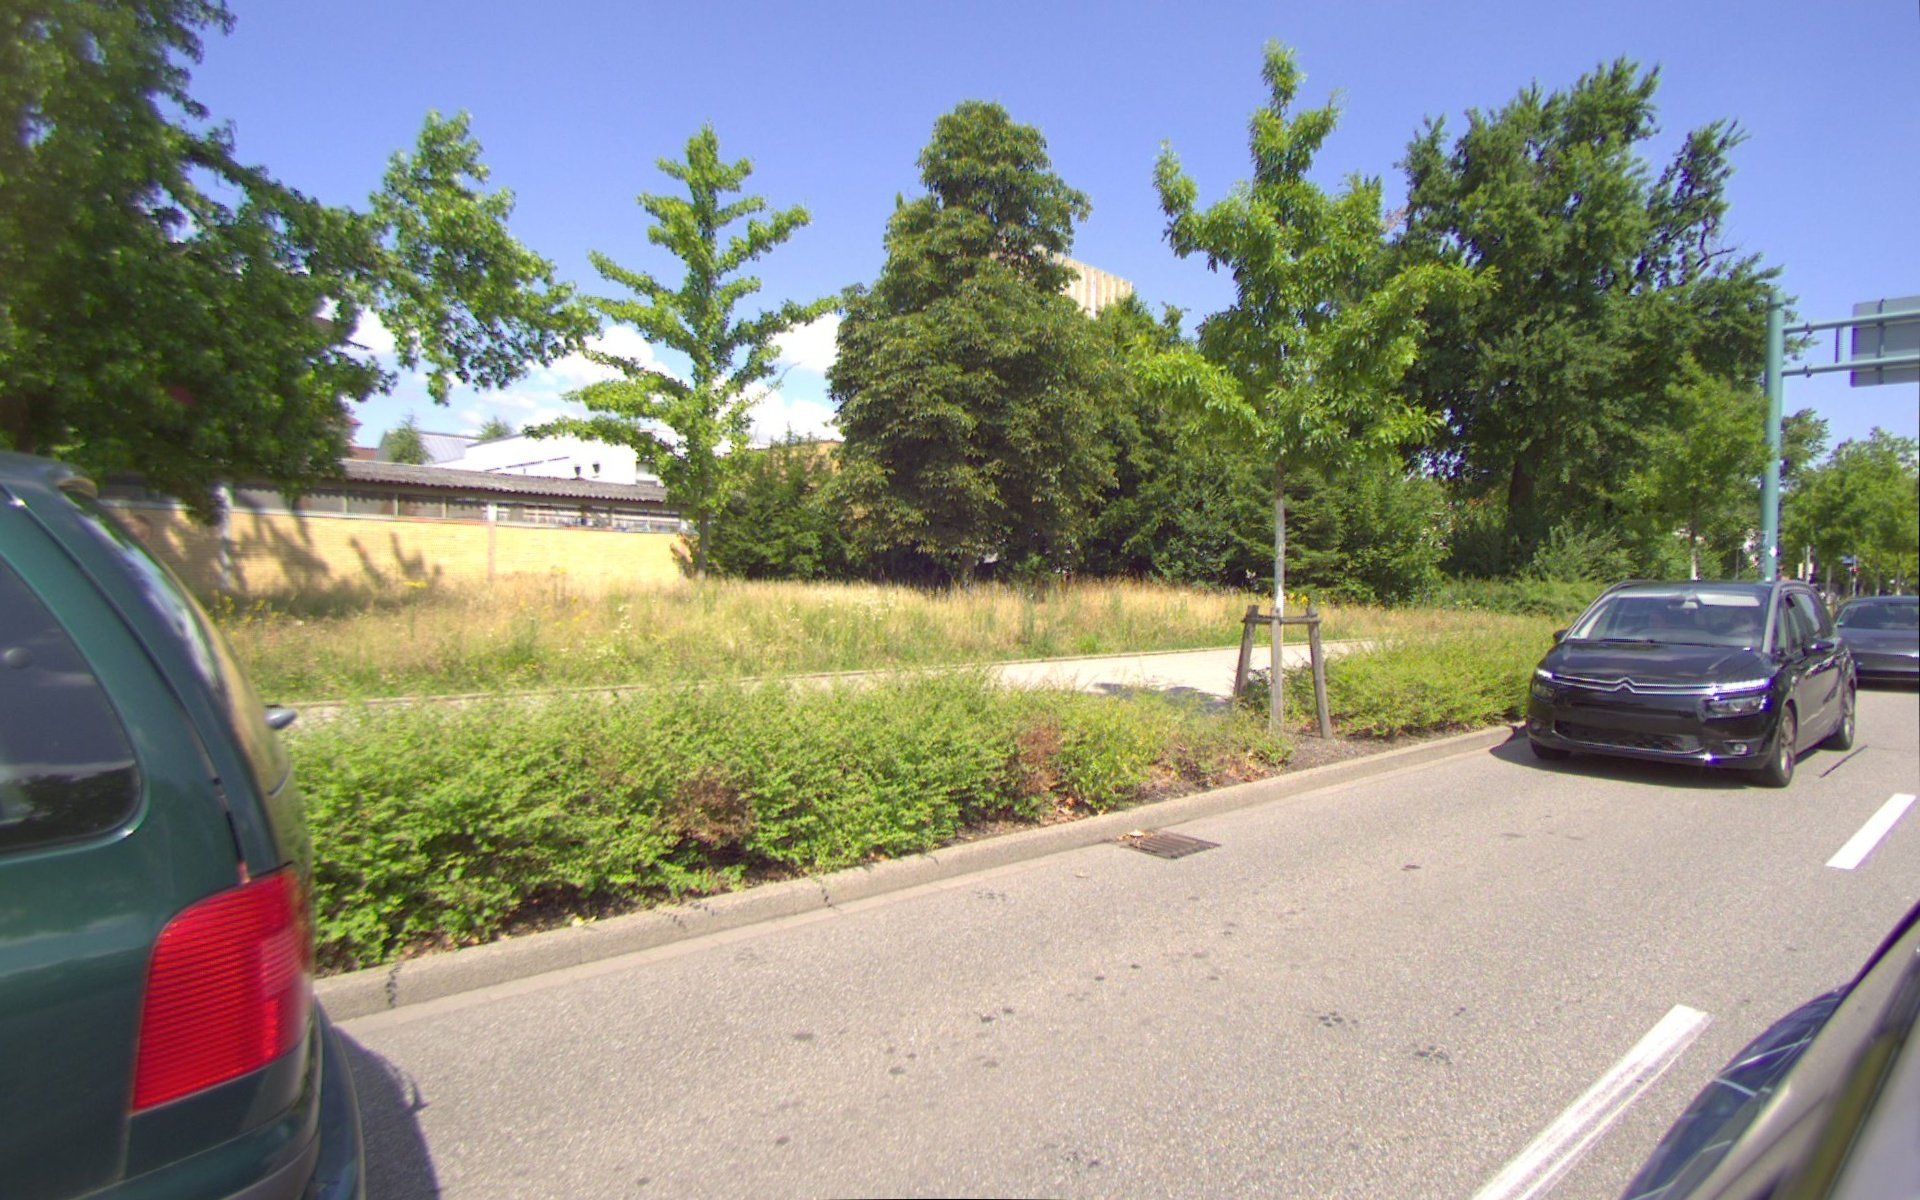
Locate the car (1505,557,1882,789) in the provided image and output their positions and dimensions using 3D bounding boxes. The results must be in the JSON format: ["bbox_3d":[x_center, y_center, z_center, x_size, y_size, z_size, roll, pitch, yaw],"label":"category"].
[{"bbox_3d":[6.911,0.518,9.344,4.441,1.643,1.861,0,0,-41],"label":"car"}]

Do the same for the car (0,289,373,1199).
[{"bbox_3d":[-3.018,0.537,0.632,4.368,1.745,1.798,0,0,-40],"label":"car"}]

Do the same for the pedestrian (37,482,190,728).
[{"bbox_3d":[-6.522,0.019,7.813,0.863,1.771,0.667,0,3,-42],"label":"pedestrian"}]

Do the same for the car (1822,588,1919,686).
[{"bbox_3d":[15.535,0.545,16.513,4.290,1.435,1.763,0,0,-43],"label":"car"}]

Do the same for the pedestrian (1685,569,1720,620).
[{"bbox_3d":[26.329,-0.193,35.906,0.827,1.787,0.843,-1,1,-41],"label":"pedestrian"}]
